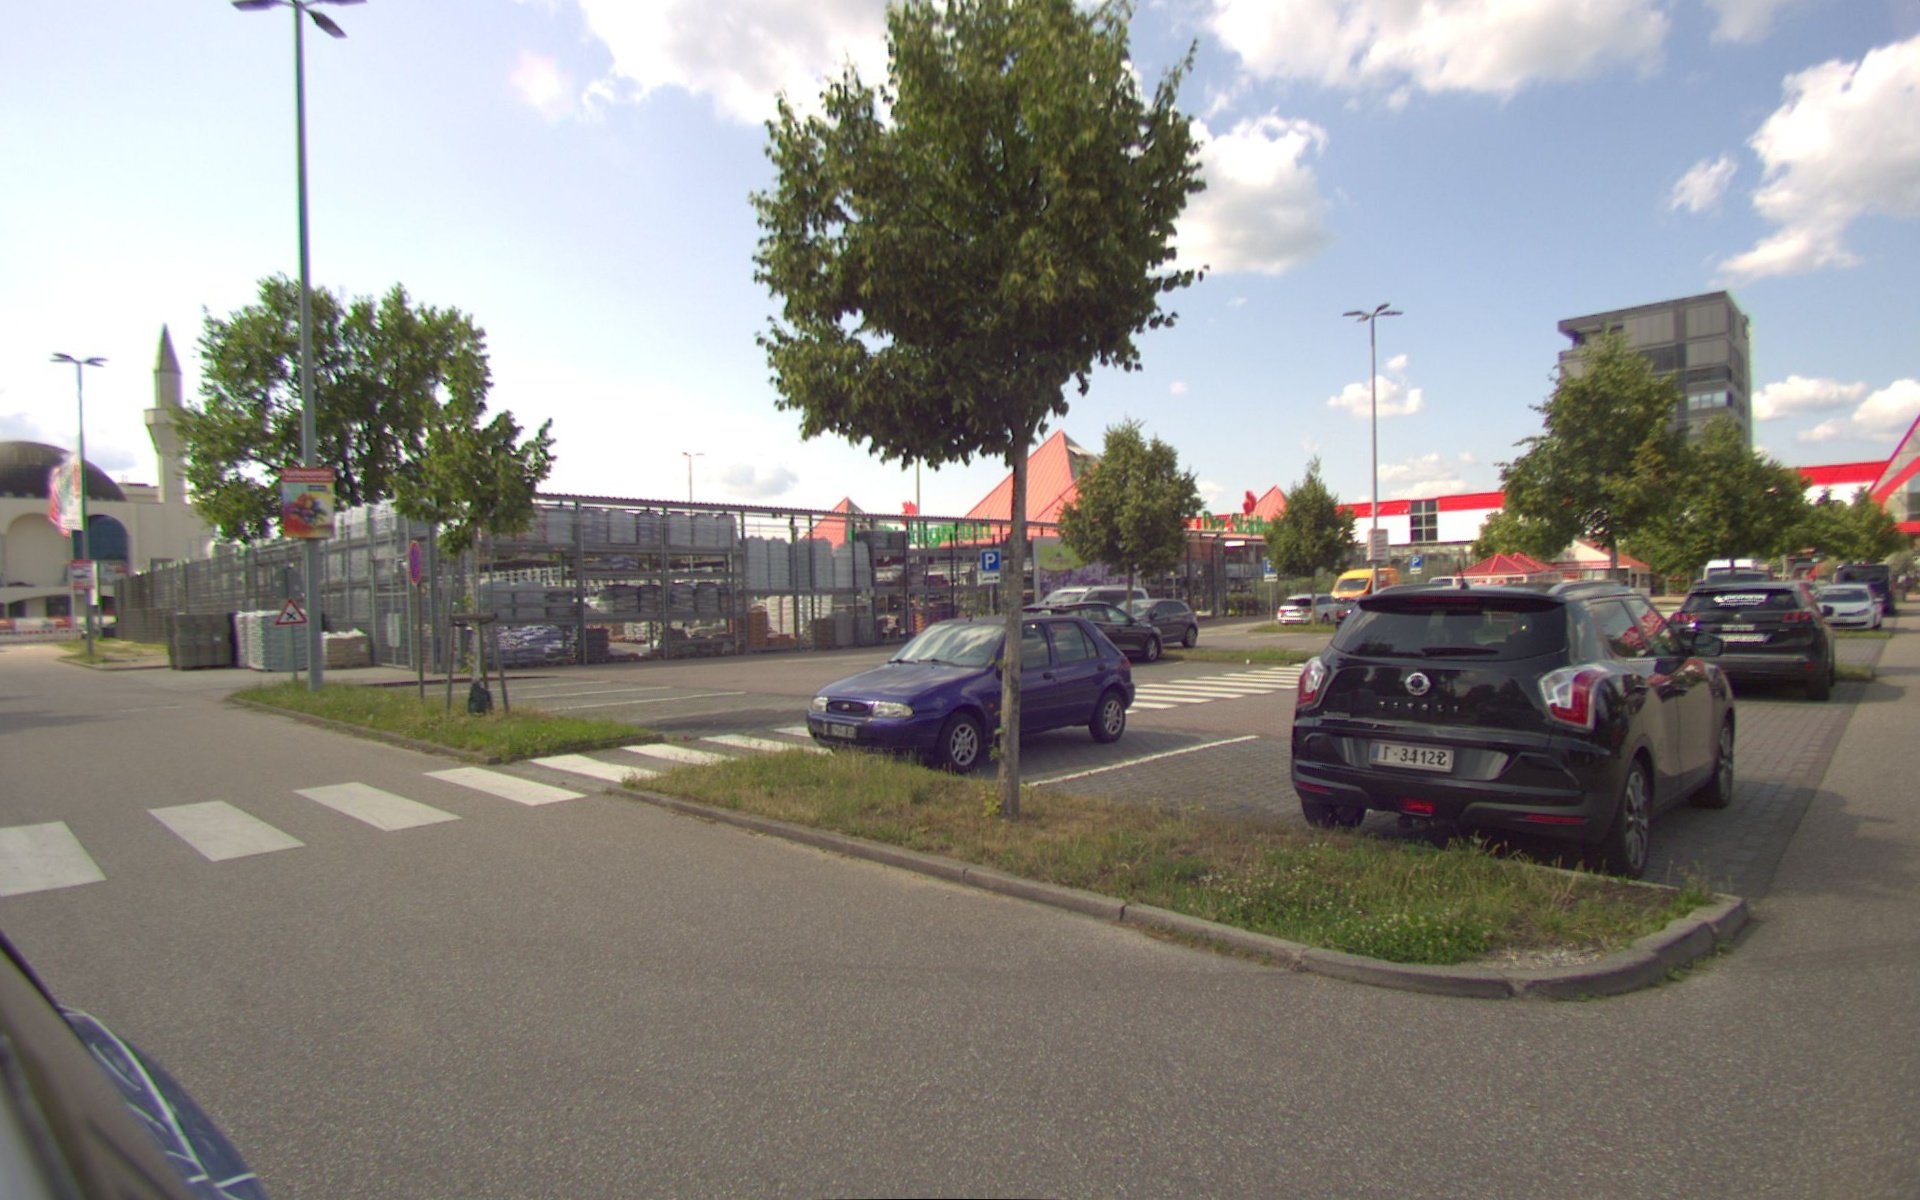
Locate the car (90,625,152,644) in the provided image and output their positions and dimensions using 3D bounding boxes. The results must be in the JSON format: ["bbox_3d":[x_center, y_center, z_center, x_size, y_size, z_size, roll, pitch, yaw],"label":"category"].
[{"bbox_3d":[-66.215,2.742,79.872,3.655,1.377,1.652,-1,-1,-44],"label":"car"}]

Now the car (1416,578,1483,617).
[{"bbox_3d":[27.169,-0.168,56.089,2.000,2.028,4.739,3,2,43],"label":"car"}]

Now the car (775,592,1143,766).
[{"bbox_3d":[0.146,0.642,10.152,1.621,1.378,3.711,-2,0,42],"label":"car"}]

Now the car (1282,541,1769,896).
[{"bbox_3d":[3.905,0.529,6.671,3.904,1.637,1.737,-1,0,-44],"label":"car"}]

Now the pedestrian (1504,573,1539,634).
[{"bbox_3d":[19.054,0.118,34.319,0.817,2.029,0.902,-2,0,42],"label":"pedestrian"}]

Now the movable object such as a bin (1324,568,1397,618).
[{"bbox_3d":[21.377,-0.382,53.934,2.128,2.513,5.268,-2,0,39],"label":"movable object such as a bin"}]

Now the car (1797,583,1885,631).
[{"bbox_3d":[27.571,0.207,31.645,3.508,1.397,1.745,-1,0,-44],"label":"car"}]

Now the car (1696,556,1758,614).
[{"bbox_3d":[36.954,-0.705,48.717,2.236,2.656,4.273,0,0,39],"label":"car"}]

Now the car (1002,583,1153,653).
[{"bbox_3d":[3.764,0.507,31.720,2.000,2.029,5.113,-2,0,44],"label":"car"}]

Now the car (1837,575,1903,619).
[{"bbox_3d":[35.004,-0.137,38.993,1.695,1.626,2.623,2,2,39],"label":"car"}]

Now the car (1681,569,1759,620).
[{"bbox_3d":[32.286,-0.230,42.947,3.940,2.029,2.002,-1,0,-44],"label":"car"}]

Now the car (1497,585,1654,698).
[{"bbox_3d":[10.329,0.608,16.873,1.781,1.637,3.659,-2,0,38],"label":"car"}]

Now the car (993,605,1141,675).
[{"bbox_3d":[2.496,0.863,23.182,1.810,1.415,3.310,-2,0,41],"label":"car"}]

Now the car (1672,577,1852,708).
[{"bbox_3d":[11.795,0.515,14.786,1.783,1.637,4.028,-2,0,42],"label":"car"}]
